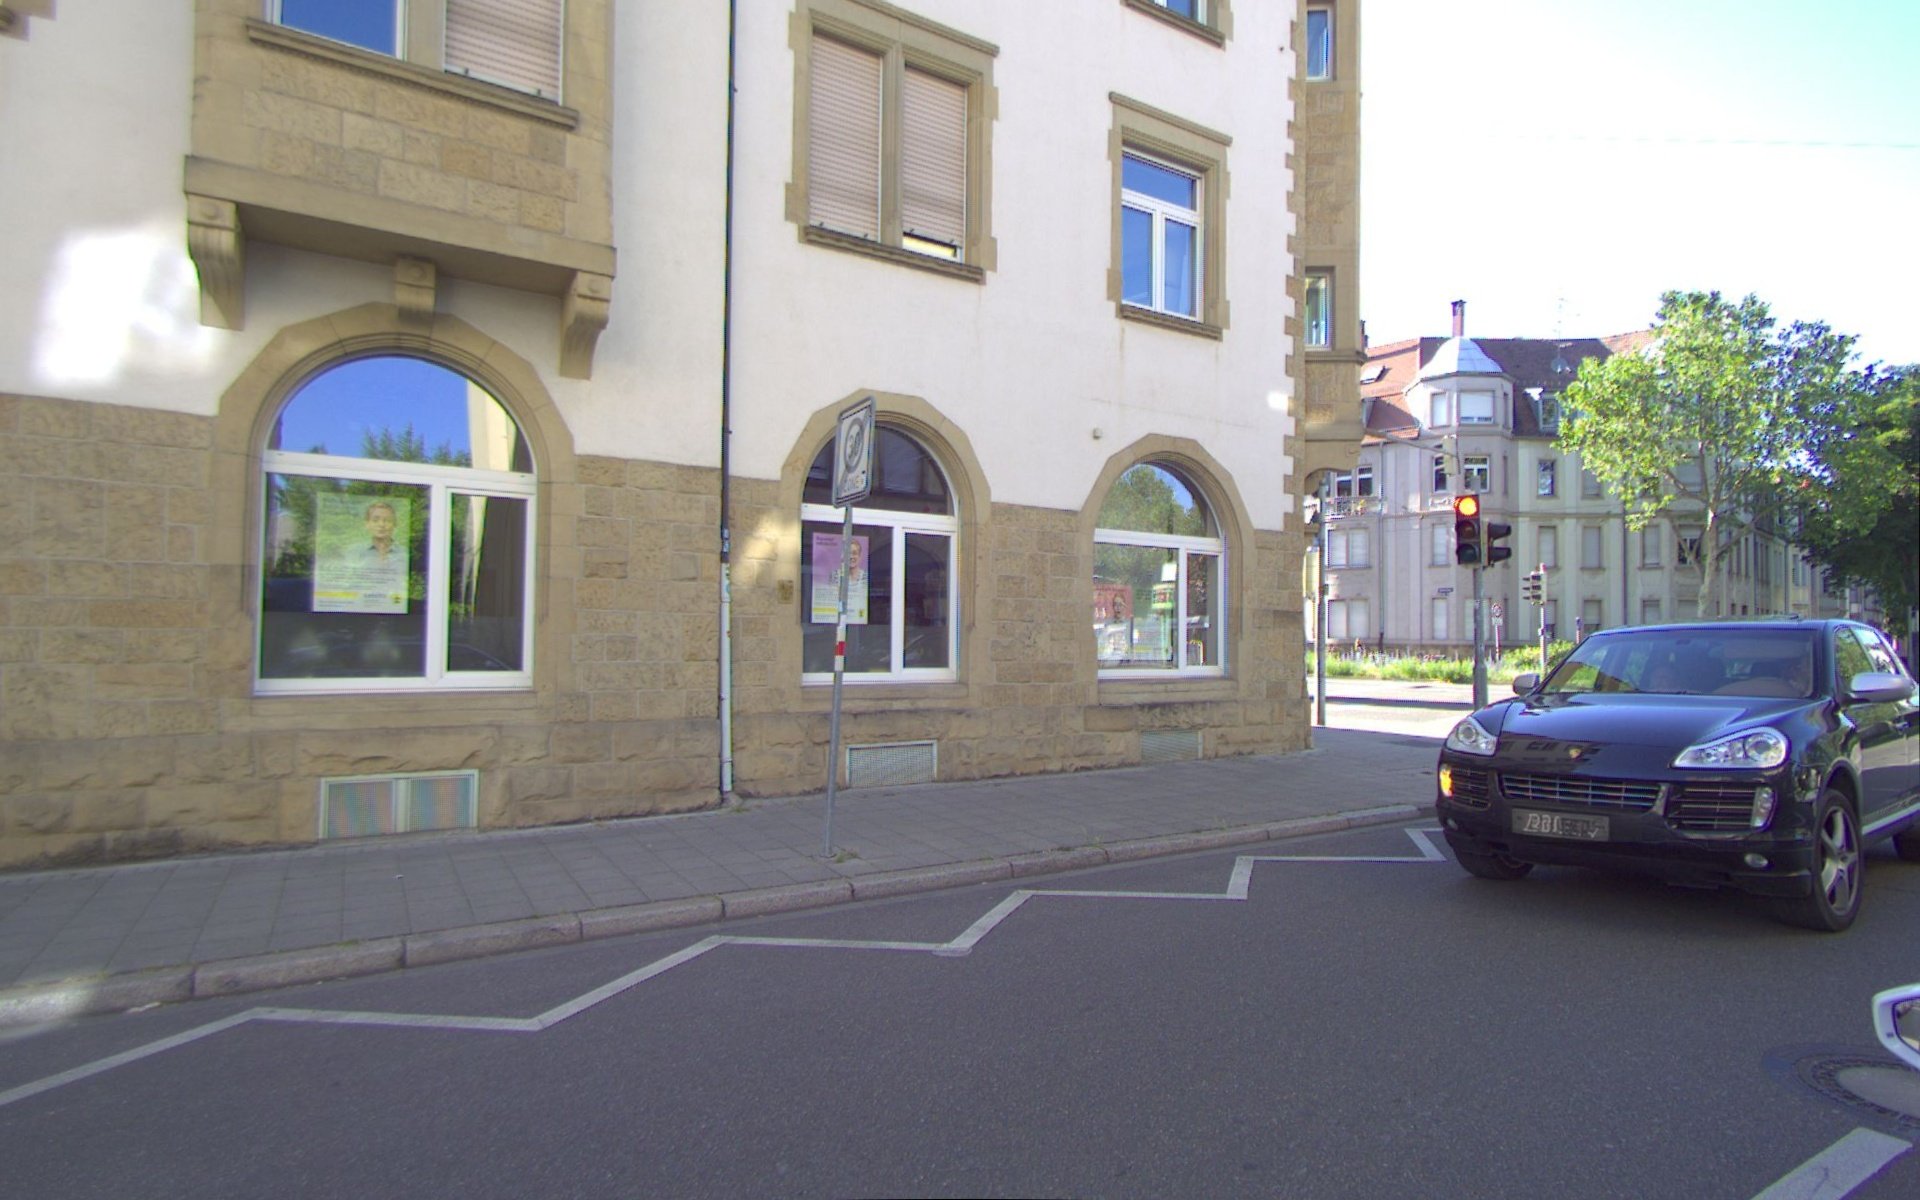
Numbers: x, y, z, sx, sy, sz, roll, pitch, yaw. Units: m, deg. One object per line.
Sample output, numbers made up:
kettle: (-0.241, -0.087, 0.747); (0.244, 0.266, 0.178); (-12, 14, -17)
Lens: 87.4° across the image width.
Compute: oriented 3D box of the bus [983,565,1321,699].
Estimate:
bus: (4.942, 0.860, 28.062); (2.726, 3.137, 9.530); (2, -2, -43)

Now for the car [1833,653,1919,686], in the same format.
car: (45.454, 3.408, 49.501); (1.647, 1.476, 3.595); (2, -2, -44)

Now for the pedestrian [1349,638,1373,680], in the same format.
pedestrian: (20.083, 2.936, 50.323); (0.826, 2.040, 0.748); (2, 0, 44)

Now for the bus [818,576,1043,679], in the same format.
bus: (-1.261, 0.957, 34.802); (2.726, 3.137, 8.741); (2, -2, -43)

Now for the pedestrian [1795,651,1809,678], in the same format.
pedestrian: (46.250, 3.532, 55.171); (0.483, 1.461, 0.701); (2, 0, 45)

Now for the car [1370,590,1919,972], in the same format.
car: (4.998, 0.919, 6.793); (4.666, 1.716, 2.058); (2, -4, -38)
